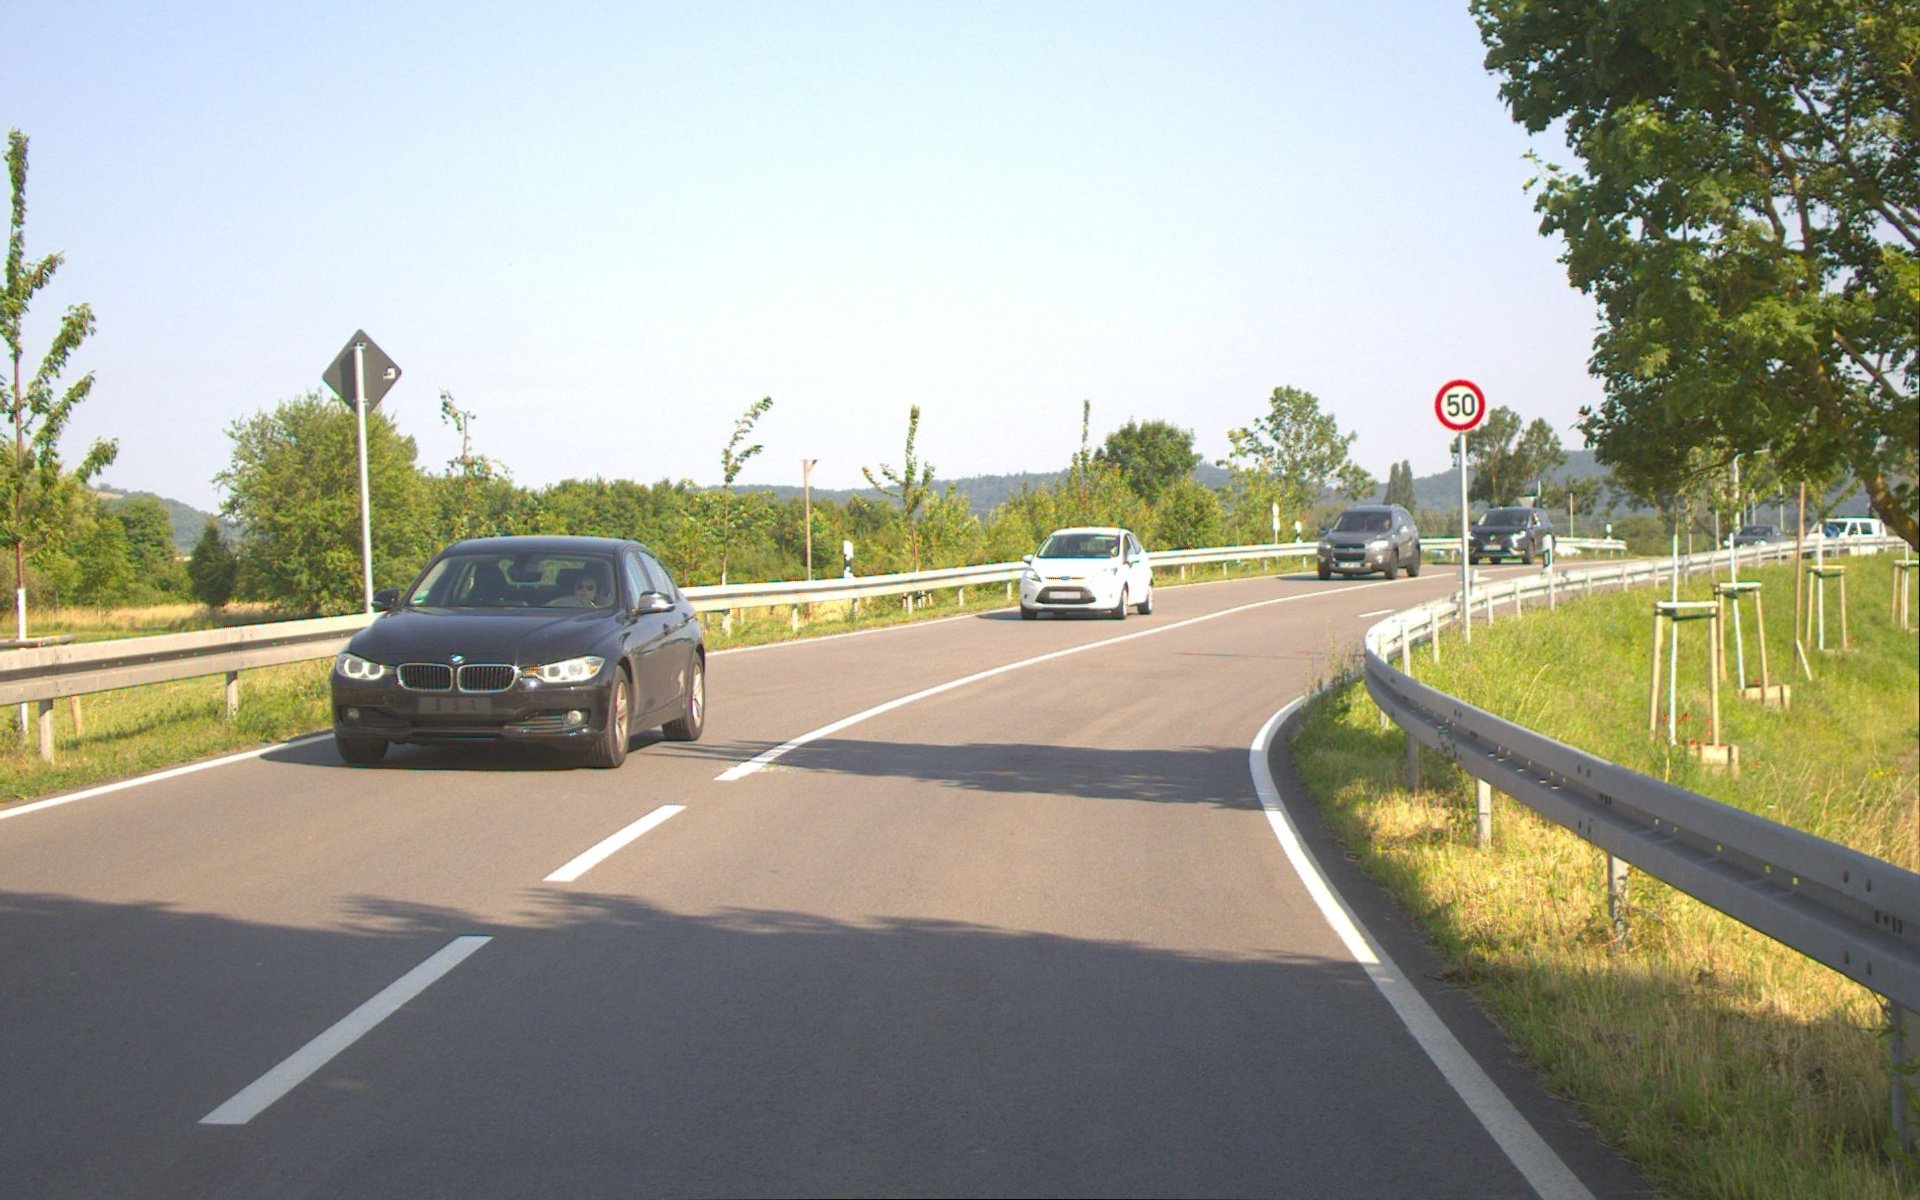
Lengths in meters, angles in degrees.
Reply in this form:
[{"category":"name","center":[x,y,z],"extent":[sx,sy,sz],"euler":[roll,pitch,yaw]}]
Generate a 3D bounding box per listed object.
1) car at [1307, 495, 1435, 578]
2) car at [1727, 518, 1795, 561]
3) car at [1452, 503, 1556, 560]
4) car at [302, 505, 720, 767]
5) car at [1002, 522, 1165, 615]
[{"category":"car","center":[9.781,-1.484,81.473],"extent":[1.884,1.792,5.086],"euler":[1,-1,20]},{"category":"car","center":[31.267,-2.362,134.080],"extent":[1.797,1.443,4.701],"euler":[1,4,23]},{"category":"car","center":[15.997,-2.030,100.951],"extent":[1.996,1.587,4.858],"euler":[1,2,21]},{"category":"car","center":[-2.841,0.233,22.705],"extent":[1.838,1.539,4.244],"euler":[1,-1,5]},{"category":"car","center":[2.053,-0.519,55.988],"extent":[1.854,1.444,4.151],"euler":[1,1,13]}]
